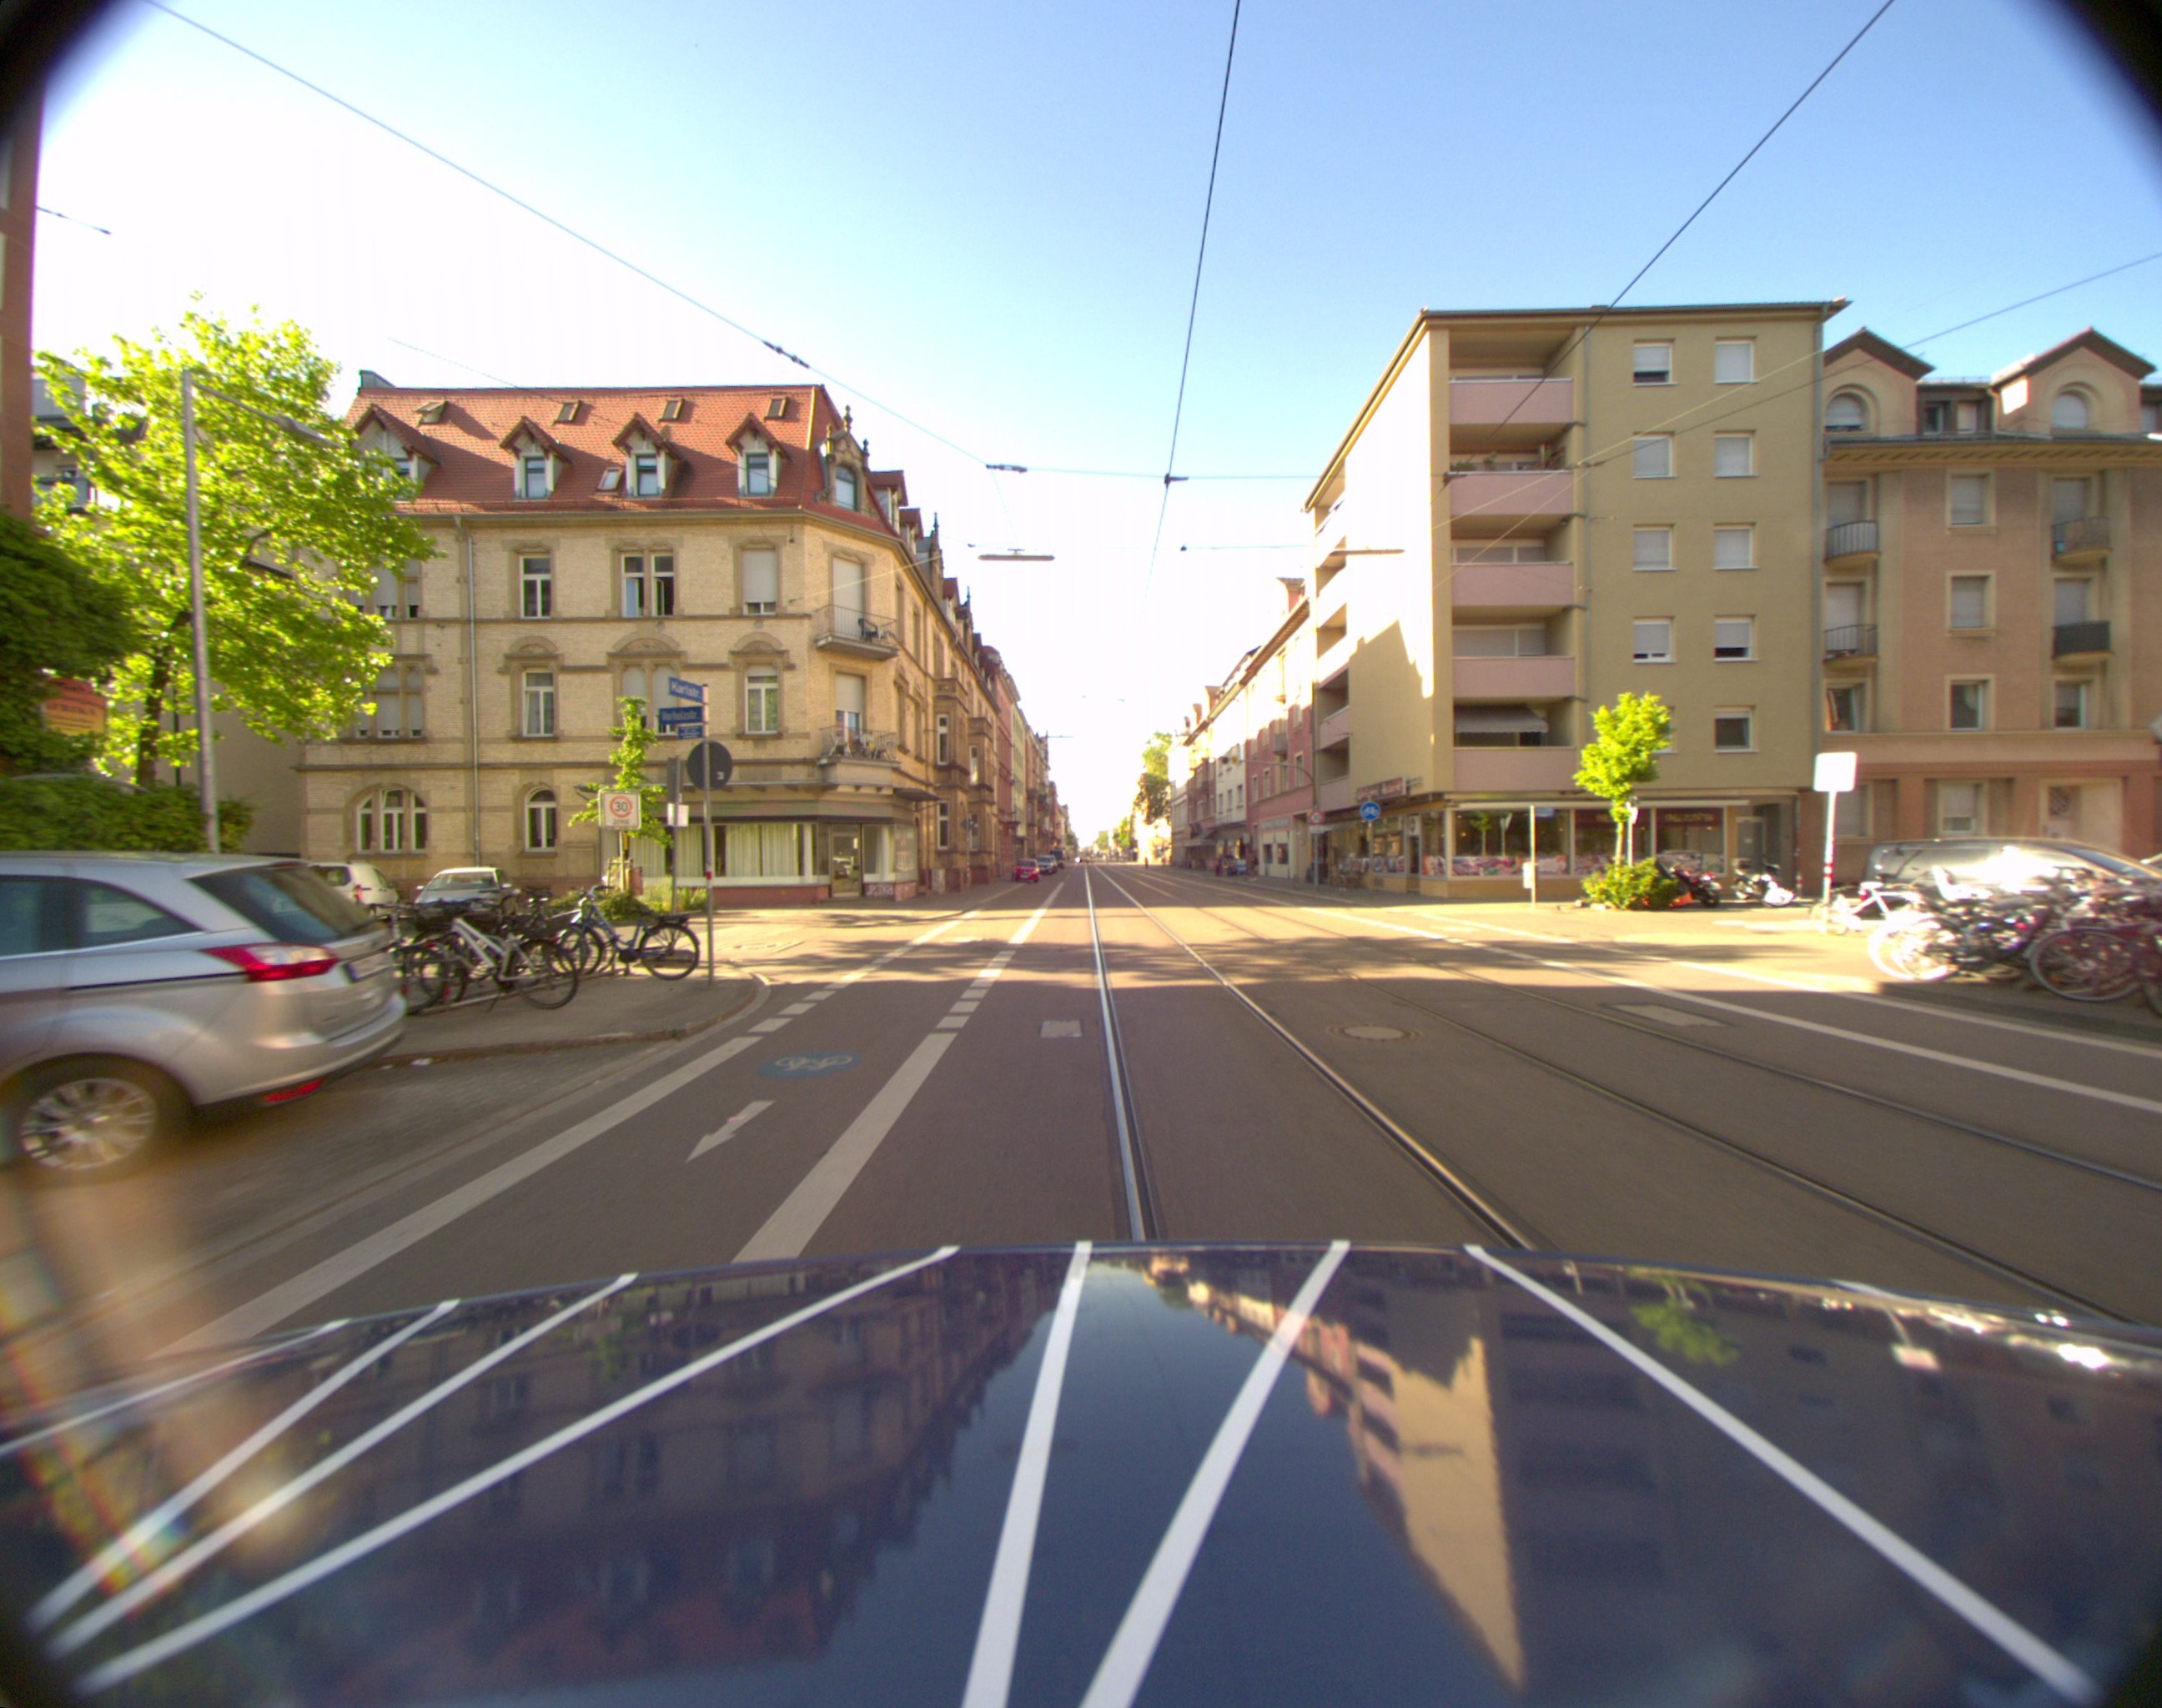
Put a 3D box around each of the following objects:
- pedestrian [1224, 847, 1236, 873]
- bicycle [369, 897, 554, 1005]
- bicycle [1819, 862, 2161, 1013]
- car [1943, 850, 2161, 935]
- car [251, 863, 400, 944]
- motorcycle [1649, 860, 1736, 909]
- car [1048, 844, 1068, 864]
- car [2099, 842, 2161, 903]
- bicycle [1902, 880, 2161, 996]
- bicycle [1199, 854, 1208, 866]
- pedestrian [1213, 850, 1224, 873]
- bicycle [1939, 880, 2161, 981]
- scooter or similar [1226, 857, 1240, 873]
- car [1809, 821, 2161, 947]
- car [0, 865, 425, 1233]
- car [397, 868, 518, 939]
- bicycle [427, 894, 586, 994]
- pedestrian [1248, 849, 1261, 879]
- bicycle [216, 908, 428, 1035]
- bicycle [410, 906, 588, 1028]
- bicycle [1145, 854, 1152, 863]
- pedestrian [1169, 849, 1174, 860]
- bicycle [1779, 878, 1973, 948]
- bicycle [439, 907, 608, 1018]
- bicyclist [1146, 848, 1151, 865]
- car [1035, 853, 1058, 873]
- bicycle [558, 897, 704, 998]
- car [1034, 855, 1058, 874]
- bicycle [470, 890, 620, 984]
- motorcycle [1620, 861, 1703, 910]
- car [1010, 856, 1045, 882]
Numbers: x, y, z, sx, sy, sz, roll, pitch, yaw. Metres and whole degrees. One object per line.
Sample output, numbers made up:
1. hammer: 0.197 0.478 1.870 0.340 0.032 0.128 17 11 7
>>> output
1. pedestrian: 10.247 0.412 52.259 0.627 1.779 0.821 -2 1 0
2. bicycle: -6.903 1.074 8.489 1.678 1.120 0.552 -2 1 7
3. bicycle: 9.328 0.777 7.950 0.683 1.311 2.435 -2 -2 -3
4. car: 18.555 0.652 13.463 1.852 1.383 3.993 -2 -3 -30
5. car: -19.416 1.176 19.729 1.775 1.819 3.731 -2 1 -30
6. motorcycle: 16.581 0.796 20.678 0.621 1.202 2.176 -2 1 1
7. car: -2.979 -0.012 100.025 2.128 2.478 5.856 -2 1 2
8. car: 29.388 0.448 20.039 3.872 1.502 1.793 -2 1 -16
9. bicycle: 10.458 0.865 8.297 0.685 1.116 1.883 -1 -2 -30
10. bicycle: 11.646 0.584 72.248 0.425 1.053 2.329 -2 1 0
11. pedestrian: 9.399 0.528 51.909 0.637 1.540 0.623 -2 1 0
12. bicycle: 11.985 0.874 8.920 2.429 1.102 0.685 -3 -2 41
13. scooter or similar: 10.240 0.728 51.242 0.663 1.055 1.105 -2 0 1
14. car: 15.744 0.555 12.987 1.851 1.806 4.352 2 -3 -20
15. car: -6.365 0.940 3.712 4.370 1.587 1.850 -2 1 -24
16. car: -15.665 1.160 19.277 1.775 1.523 3.523 -2 1 -30
17. bicycle: -6.911 1.070 9.168 1.559 1.120 0.528 -2 1 7
18. pedestrian: 9.821 0.535 43.065 0.564 1.676 0.616 -2 1 -1
19. bicycle: -7.247 1.111 7.280 1.559 1.120 0.552 -2 1 7
20. bicycle: -5.593 1.085 7.310 1.563 1.120 0.295 -2 1 7
21. bicycle: 8.233 0.572 92.816 0.603 1.089 2.044 1 1 1
22. pedestrian: 15.355 0.084 129.062 0.795 1.837 0.809 -2 1 3
23. bicycle: 13.926 0.983 13.458 0.683 1.102 2.435 -2 -2 -6
24. bicycle: -5.684 1.106 7.759 1.559 1.073 0.307 -2 1 7
25. bicyclist: 8.242 0.339 92.735 0.613 2.002 0.733 -2 1 1
26. car: -3.122 0.785 67.523 1.871 1.637 4.399 2 0 -4
27. bicycle: -5.439 1.115 9.233 1.400 1.120 0.551 -2 1 0
28. car: -3.309 0.951 73.104 1.998 1.606 4.785 2 1 0
29. bicycle: -6.851 1.054 9.742 1.559 1.120 0.552 -2 1 7
30. motorcycle: 15.788 0.831 20.742 0.621 1.202 2.176 -2 1 1
31. car: -3.411 0.958 49.350 1.870 1.474 4.400 2 1 0
